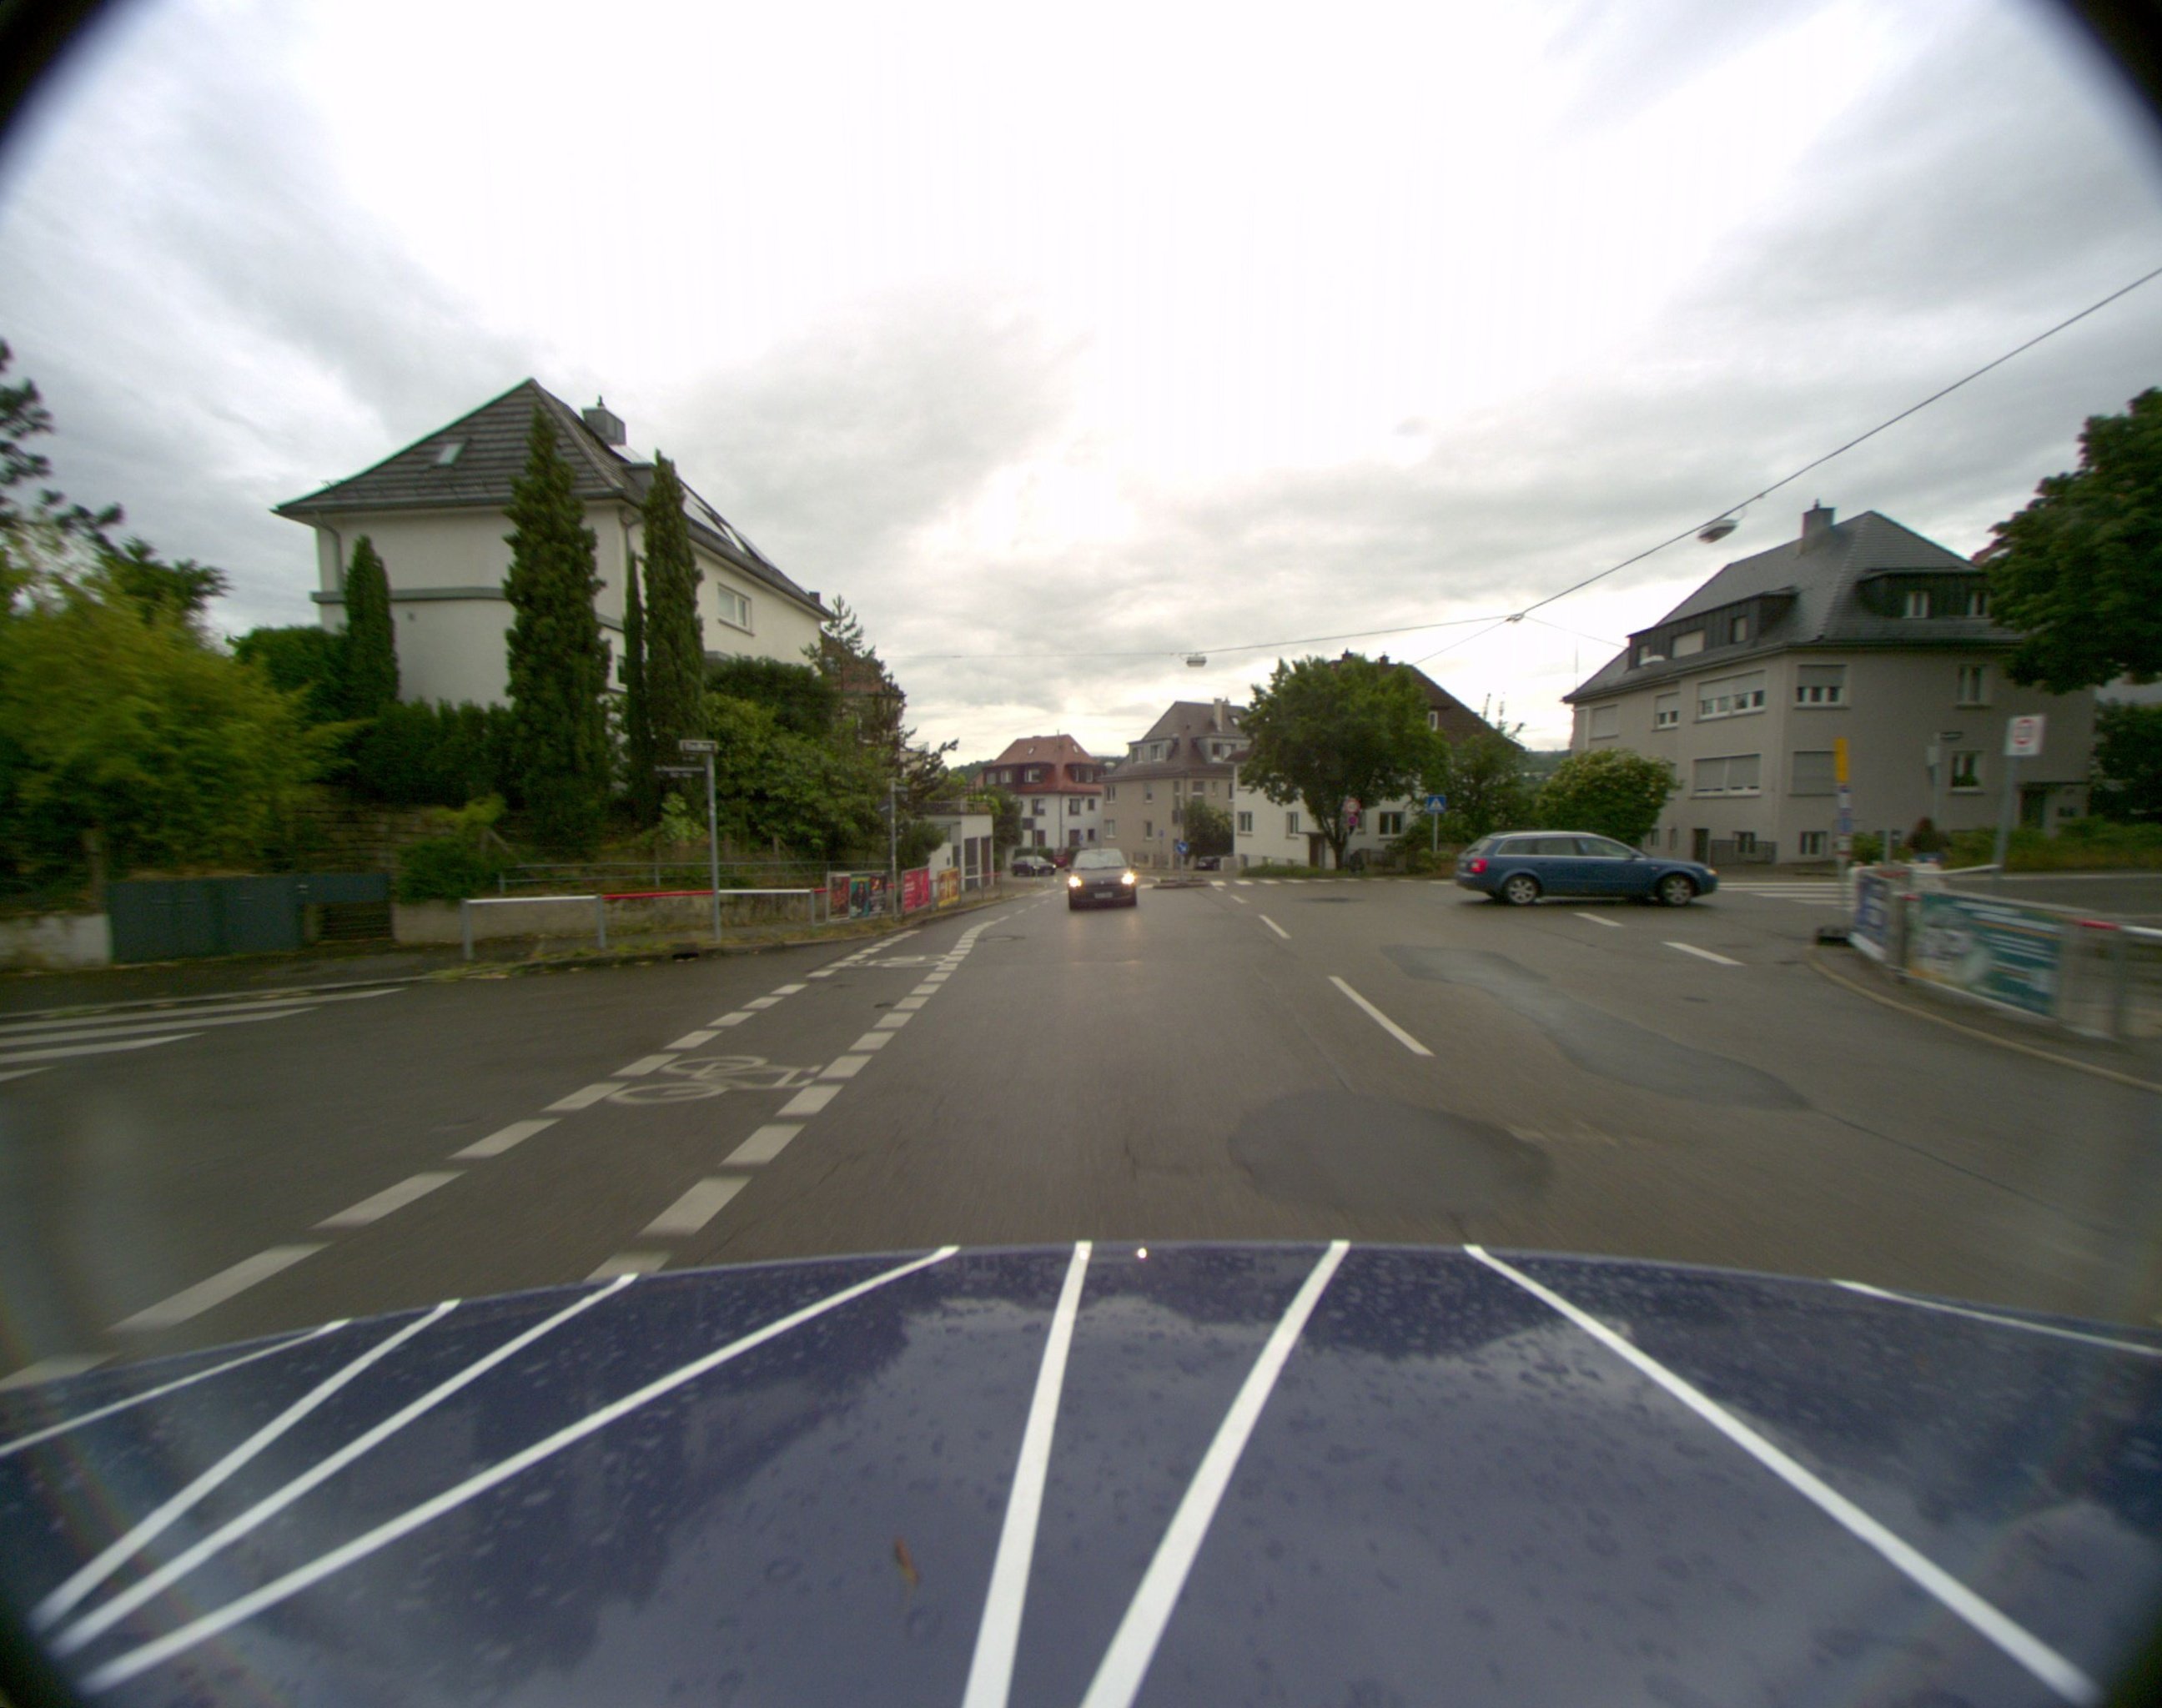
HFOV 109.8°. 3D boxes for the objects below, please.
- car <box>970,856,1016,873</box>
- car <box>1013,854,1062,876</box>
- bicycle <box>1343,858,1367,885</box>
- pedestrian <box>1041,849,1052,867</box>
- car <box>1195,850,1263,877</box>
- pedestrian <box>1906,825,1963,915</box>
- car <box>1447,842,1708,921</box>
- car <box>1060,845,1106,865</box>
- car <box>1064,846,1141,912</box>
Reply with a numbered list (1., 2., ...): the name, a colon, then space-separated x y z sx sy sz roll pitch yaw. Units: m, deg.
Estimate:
1. car: -8.361 0.994 72.080 4.218 1.417 1.845 -2 1 38
2. car: -3.187 0.808 54.829 1.965 1.477 4.195 -2 0 -27
3. bicycle: 11.822 0.756 32.820 0.421 1.078 1.964 -3 -1 4
4. pedestrian: -3.296 0.372 72.738 0.493 1.568 0.949 -2 3 37
5. car: 10.452 0.621 53.806 4.257 1.614 1.996 -3 2 -19
6. pedestrian: 16.342 0.291 14.566 0.624 1.679 0.585 2 2 41
7. car: 9.832 0.515 15.430 4.073 1.431 1.819 0 2 16
8. car: 0.192 0.131 70.841 1.994 1.812 4.009 -2 -2 44
9. car: 0.556 0.620 19.626 1.680 1.404 3.638 -5 -1 2
